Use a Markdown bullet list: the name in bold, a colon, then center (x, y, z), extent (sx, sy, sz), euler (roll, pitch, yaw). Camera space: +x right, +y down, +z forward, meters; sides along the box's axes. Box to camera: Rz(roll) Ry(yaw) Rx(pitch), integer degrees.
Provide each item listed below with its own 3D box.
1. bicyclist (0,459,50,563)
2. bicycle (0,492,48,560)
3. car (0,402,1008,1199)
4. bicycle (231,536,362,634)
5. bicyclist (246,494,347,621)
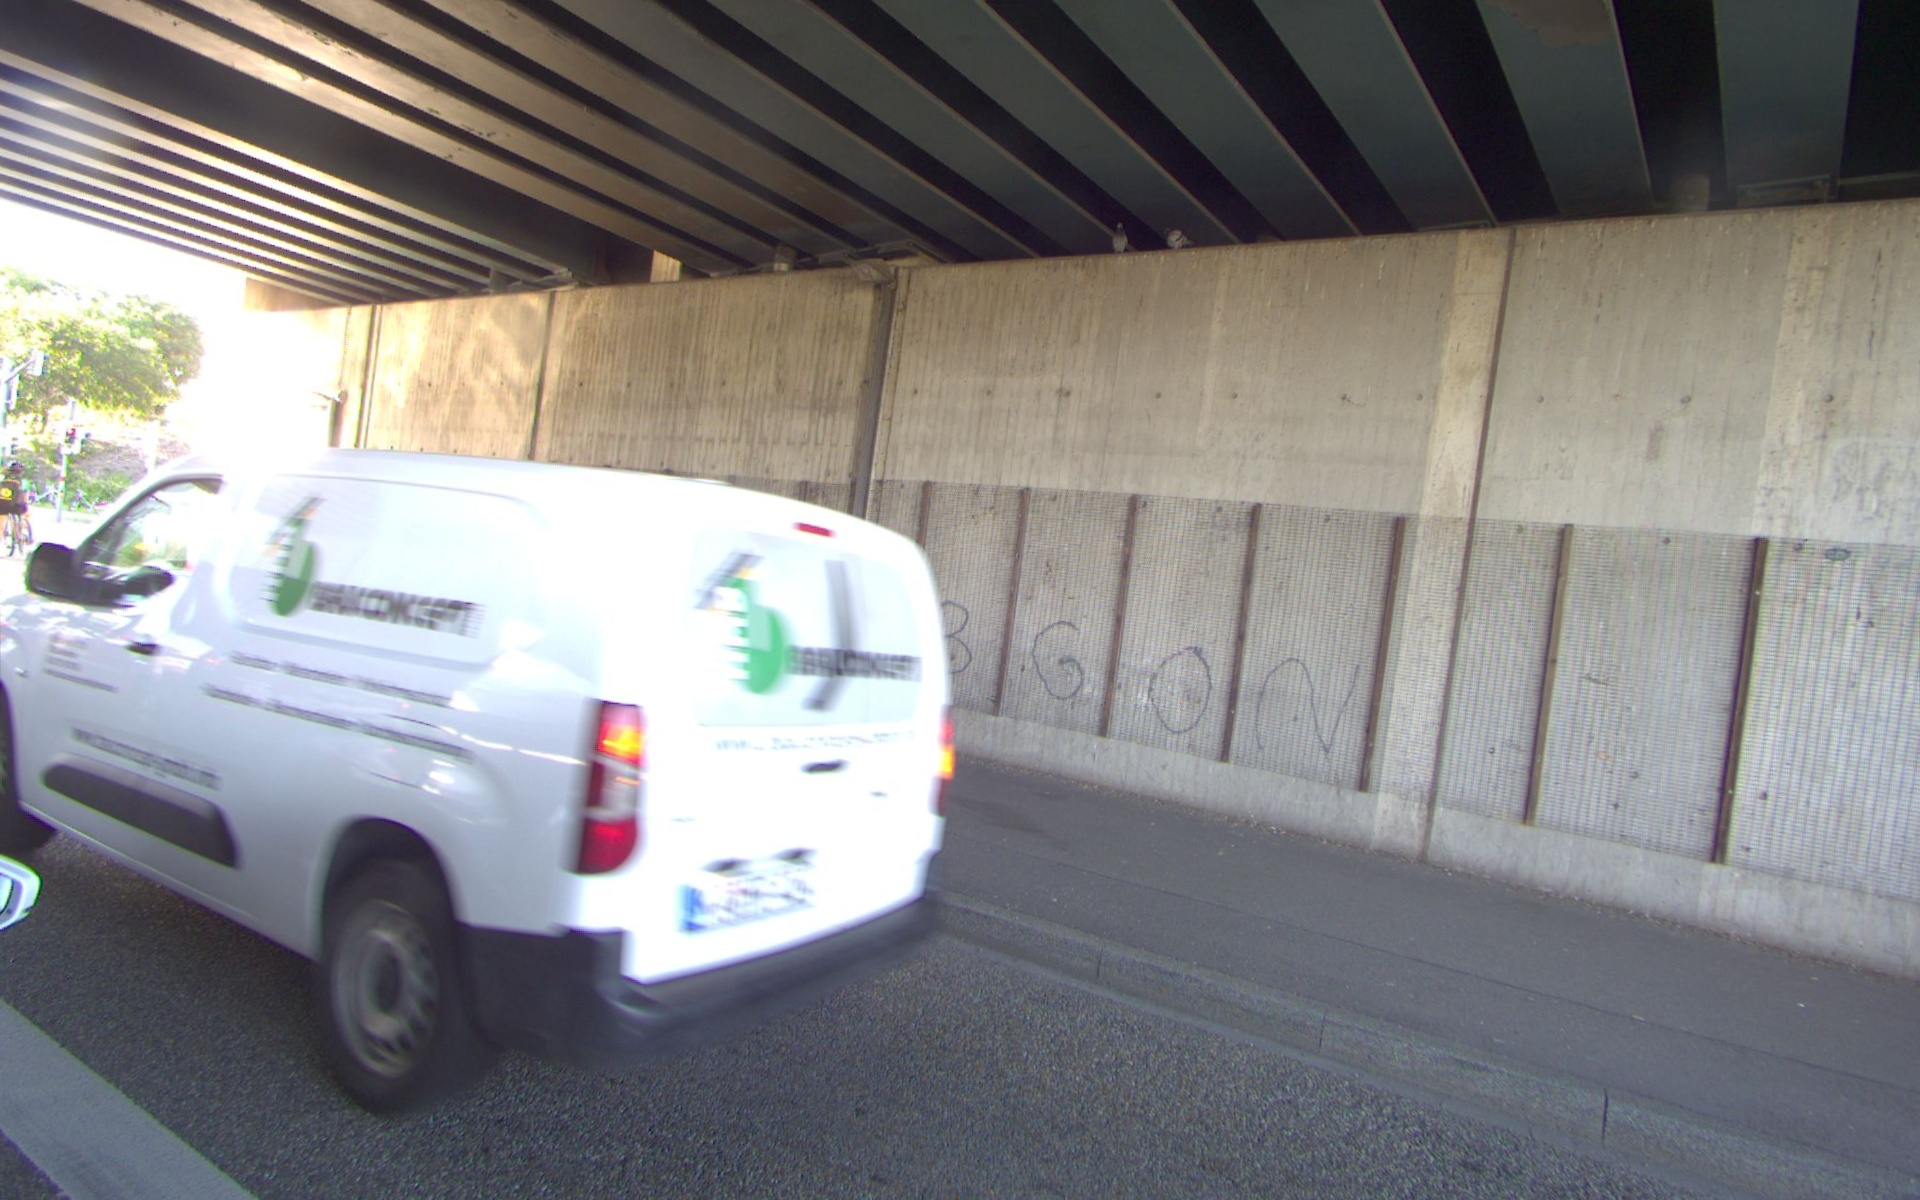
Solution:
- **bicyclist**: center (-16.079, -1.512, 17.111), extent (0.635, 1.647, 0.676), euler (6, -2, 42)
- **bicycle**: center (-16.151, -1.276, 17.137), extent (1.508, 1.036, 0.676), euler (6, -2, 43)
- **car**: center (-2.197, 0.389, 4.080), extent (4.227, 1.855, 1.817), euler (8, -1, 31)
- **bicycle**: center (-8.664, -0.200, 13.112), extent (1.731, 1.071, 0.702), euler (8, 2, 32)
- **bicyclist**: center (-8.642, -0.550, 13.106), extent (0.894, 1.544, 0.695), euler (7, 2, 32)
